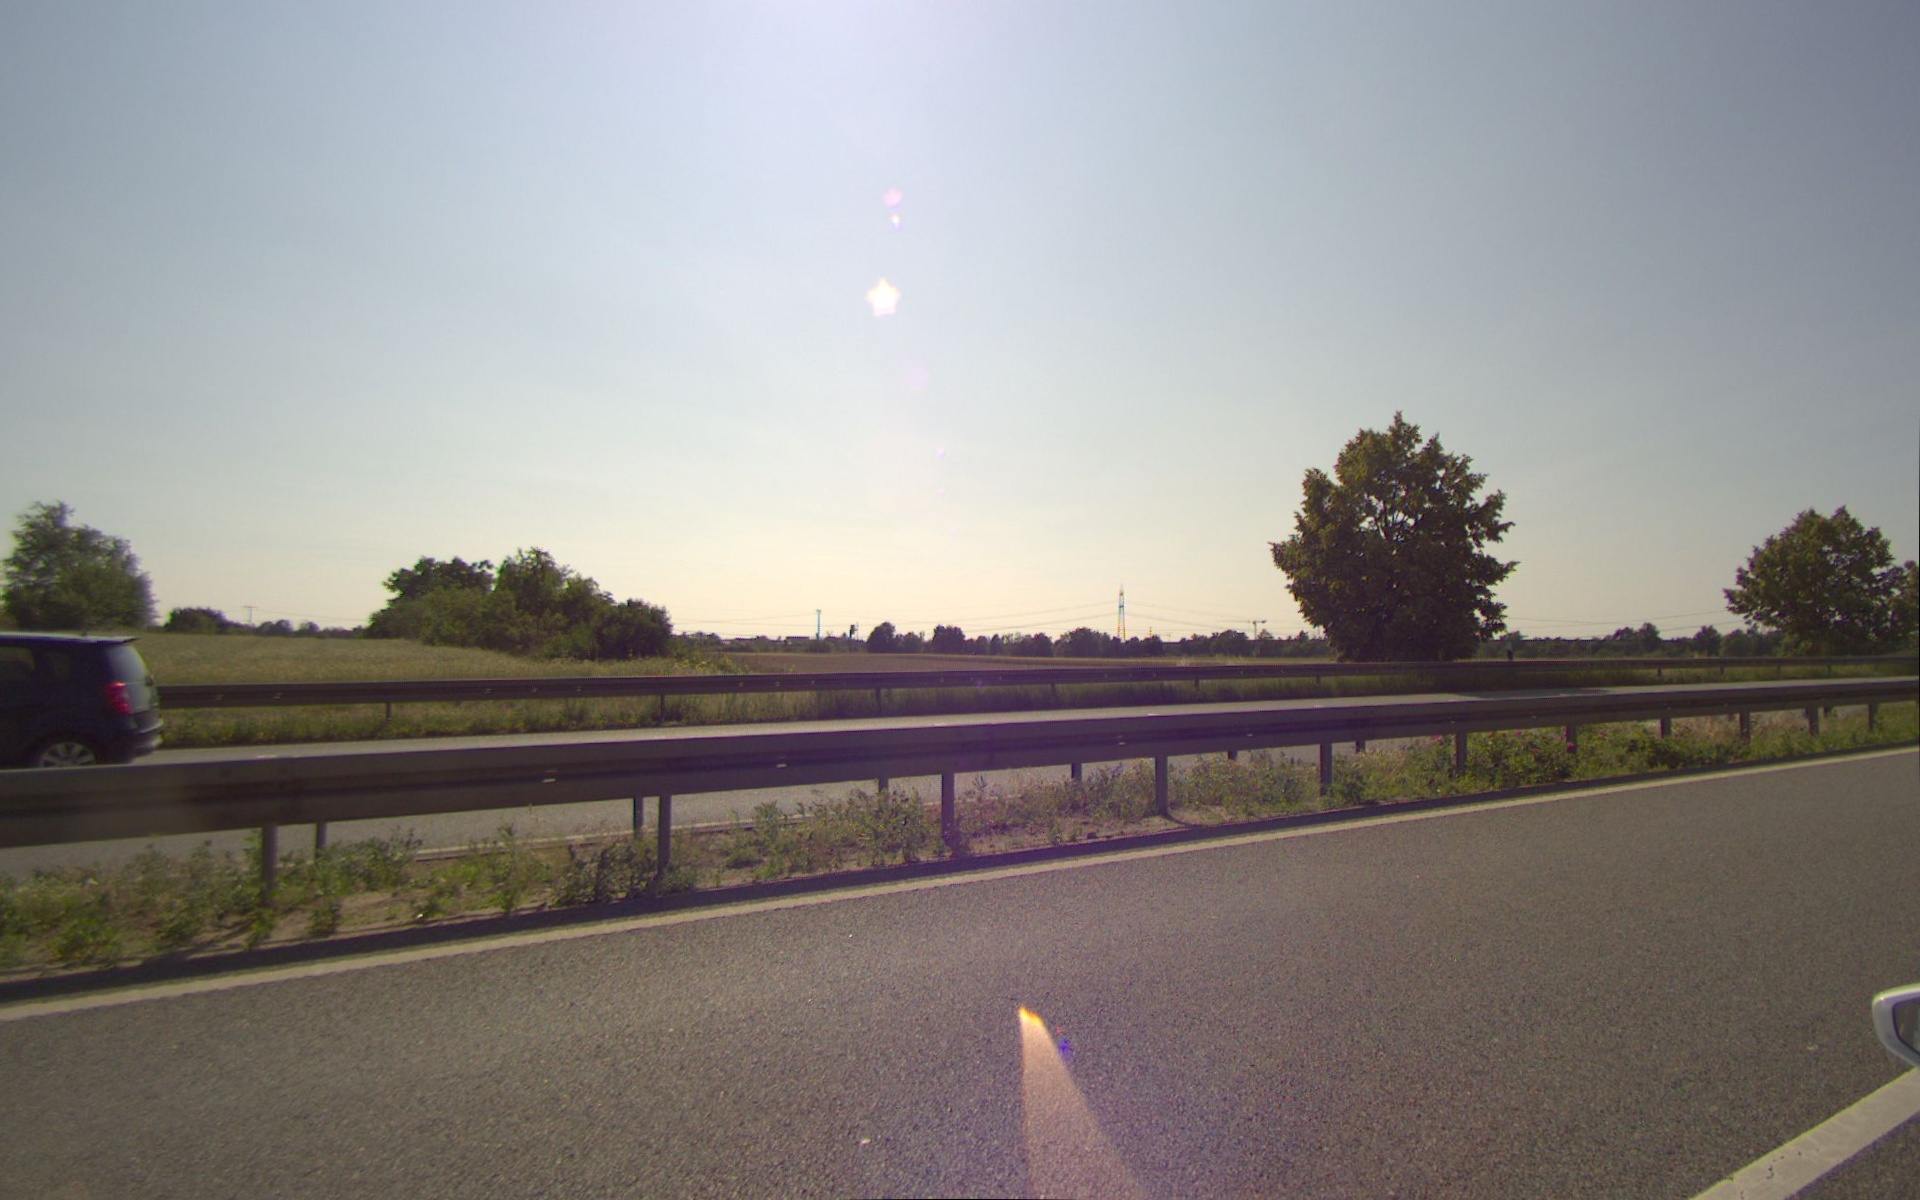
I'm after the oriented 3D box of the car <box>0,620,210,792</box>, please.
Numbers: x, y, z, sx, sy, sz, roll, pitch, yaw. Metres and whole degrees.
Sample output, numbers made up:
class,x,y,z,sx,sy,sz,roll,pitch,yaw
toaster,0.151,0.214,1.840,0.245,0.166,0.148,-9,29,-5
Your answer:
class,x,y,z,sx,sy,sz,roll,pitch,yaw
car,-9.908,0.992,9.799,3.955,1.554,1.745,2,0,-32
